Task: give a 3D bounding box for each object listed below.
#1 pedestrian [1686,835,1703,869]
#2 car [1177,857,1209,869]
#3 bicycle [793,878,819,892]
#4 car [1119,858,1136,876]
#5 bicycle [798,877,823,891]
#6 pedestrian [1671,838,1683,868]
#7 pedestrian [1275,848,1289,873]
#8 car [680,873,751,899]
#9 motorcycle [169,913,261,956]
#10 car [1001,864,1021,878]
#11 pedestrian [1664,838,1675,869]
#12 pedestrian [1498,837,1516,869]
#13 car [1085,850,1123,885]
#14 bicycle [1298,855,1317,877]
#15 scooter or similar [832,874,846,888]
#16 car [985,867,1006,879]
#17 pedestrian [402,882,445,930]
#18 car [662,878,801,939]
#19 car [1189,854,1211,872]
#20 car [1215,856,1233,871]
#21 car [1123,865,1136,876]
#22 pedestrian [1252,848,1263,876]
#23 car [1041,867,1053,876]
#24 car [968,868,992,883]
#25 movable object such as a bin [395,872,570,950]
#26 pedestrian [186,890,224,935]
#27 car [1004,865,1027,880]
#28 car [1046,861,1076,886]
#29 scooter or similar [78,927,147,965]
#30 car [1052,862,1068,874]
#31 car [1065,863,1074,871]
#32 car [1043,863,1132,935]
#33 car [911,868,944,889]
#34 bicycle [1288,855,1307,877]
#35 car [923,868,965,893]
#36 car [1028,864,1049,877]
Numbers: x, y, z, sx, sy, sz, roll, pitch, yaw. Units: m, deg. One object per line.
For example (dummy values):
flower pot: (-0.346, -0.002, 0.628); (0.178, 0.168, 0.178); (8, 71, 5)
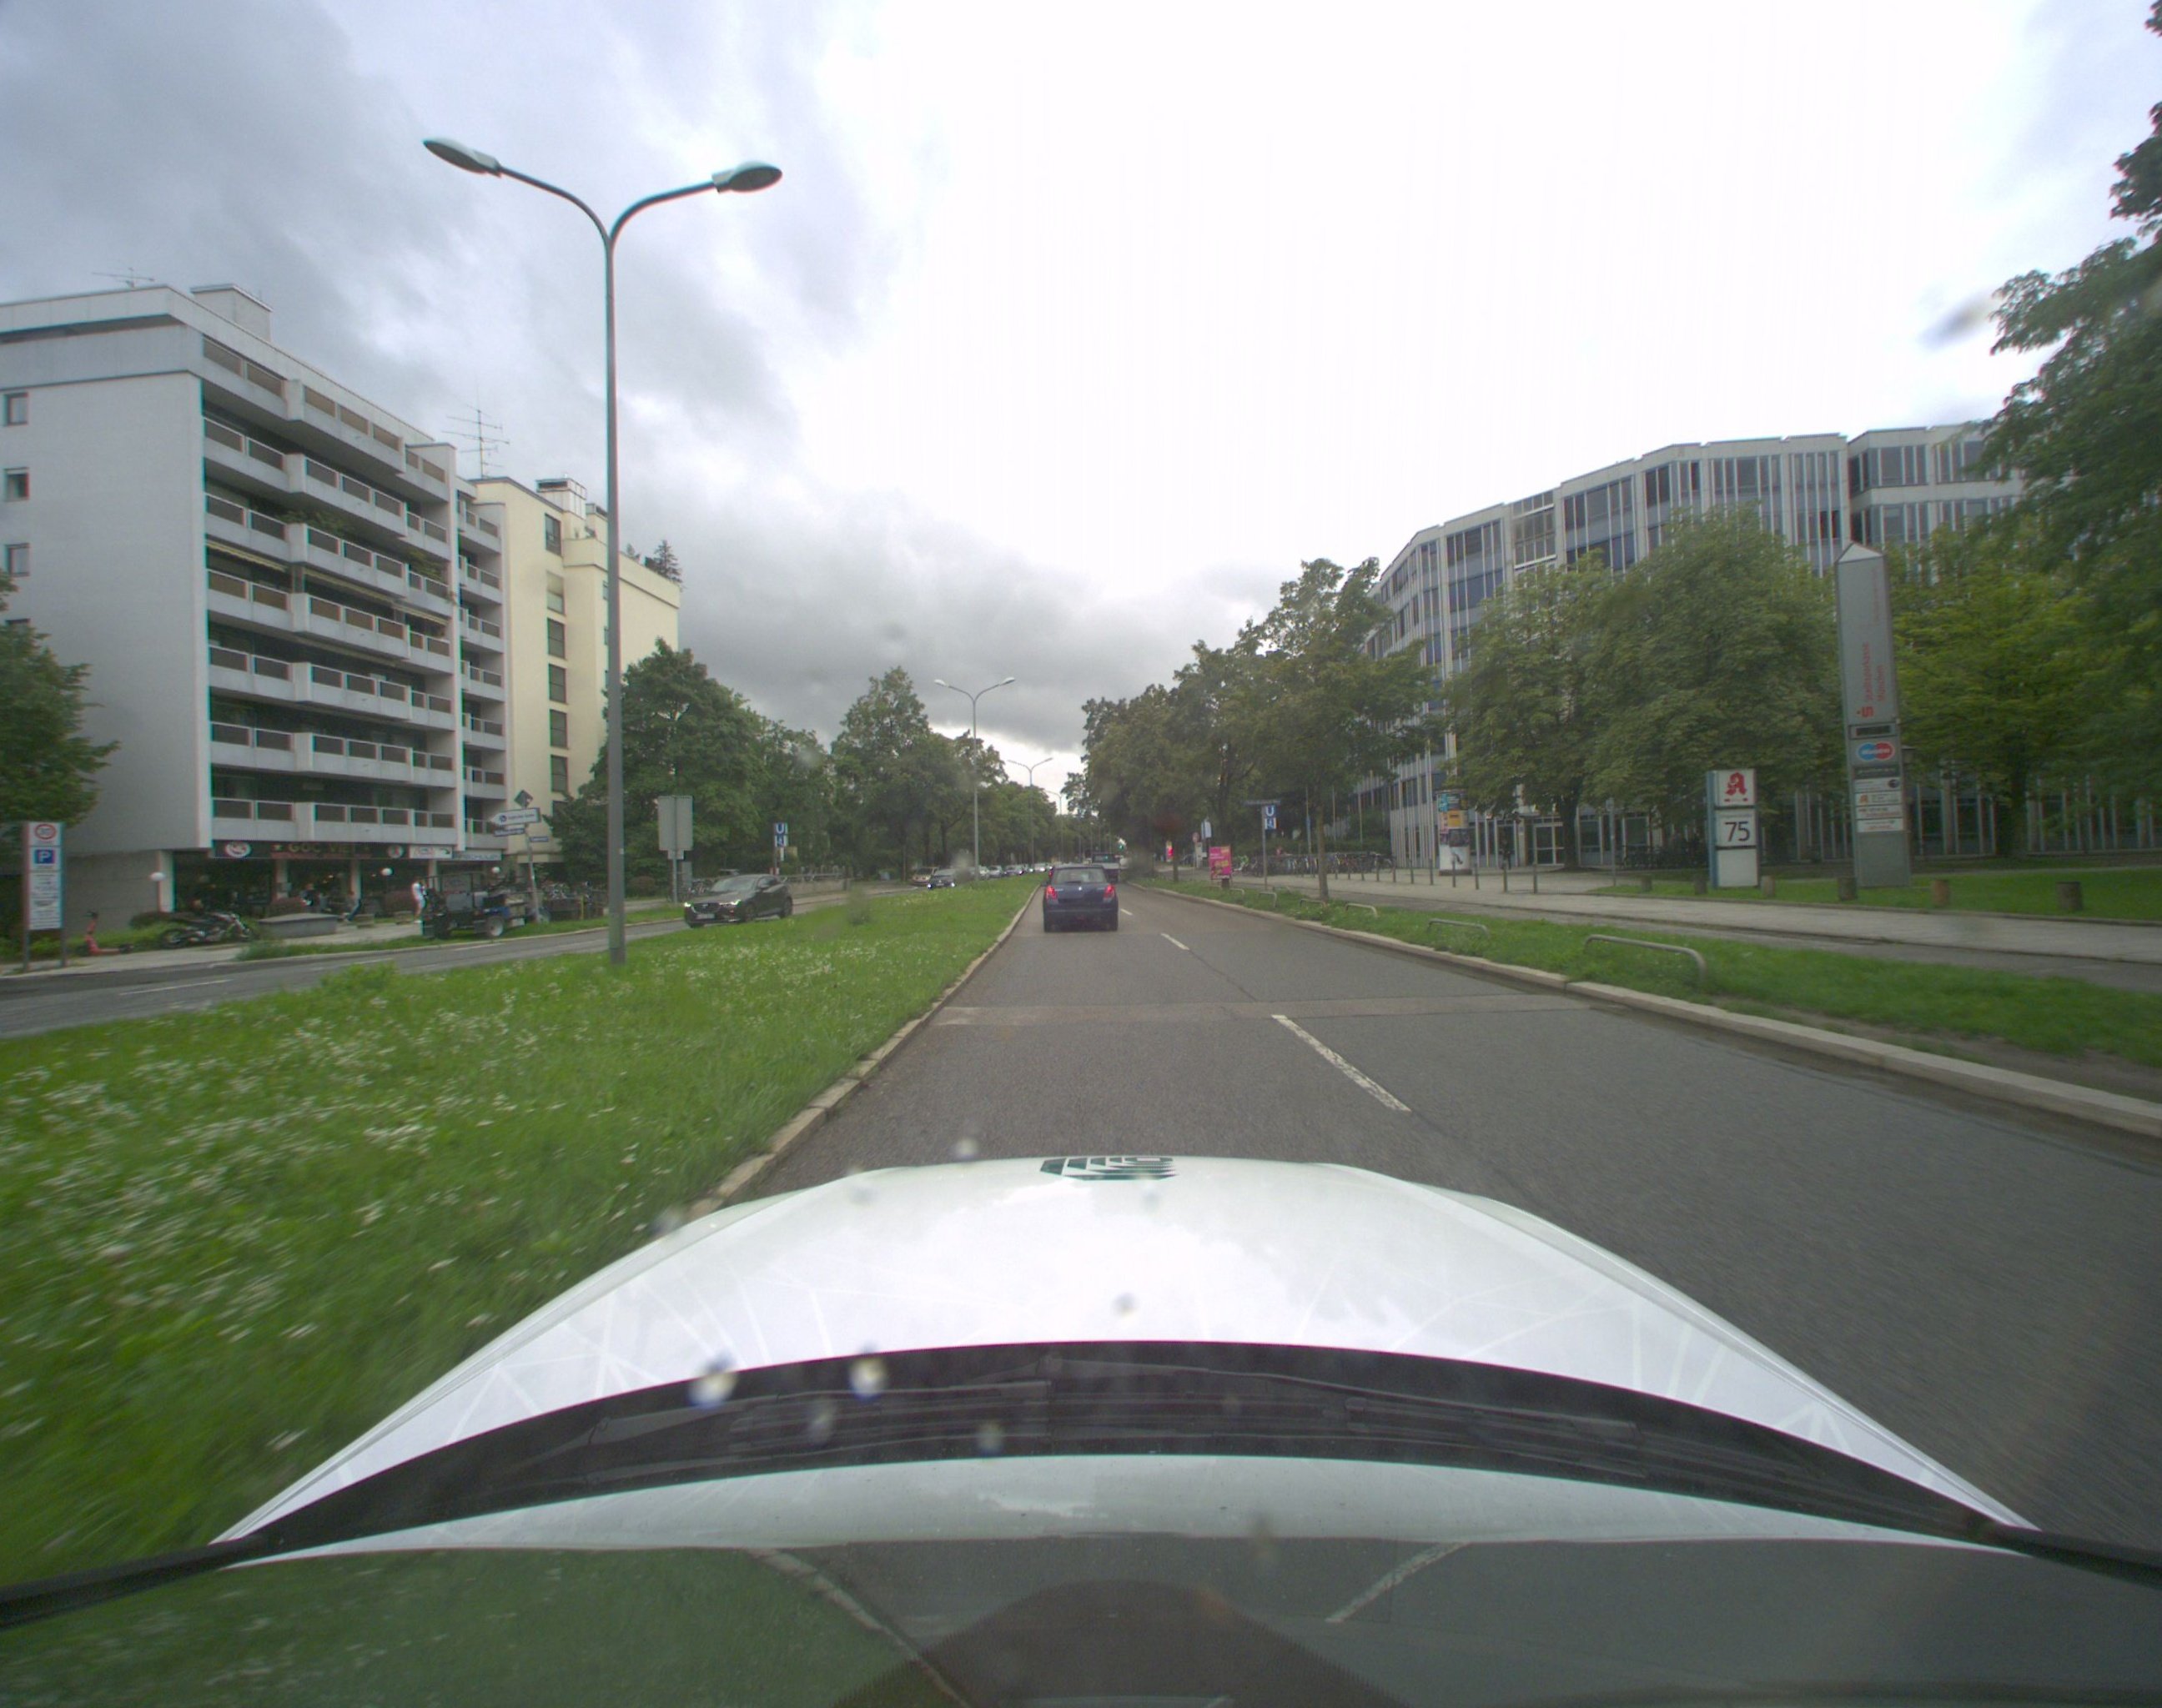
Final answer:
pedestrian: (31.197, -0.096, 41.435); (0.584, 1.658, 0.629); (-3, -1, 33)
car: (20.332, 1.625, 148.027); (5.447, 2.083, 2.149); (-2, -1, 3)
bicycle: (-20.943, 2.383, 61.997); (1.754, 1.007, 0.437); (-2, -1, 3)
car: (6.091, 1.688, 105.286); (1.978, 2.157, 5.562); (-3, -1, 4)
bicycle: (-21.098, 2.330, 63.507); (1.754, 1.007, 0.437); (-2, -1, 3)
pedestrian: (30.506, -0.044, 41.668); (0.348, 1.491, 0.345); (-2, -1, -31)
pedestrian: (14.096, 0.432, 57.138); (0.778, 1.714, 0.752); (-3, -1, 10)
car: (-24.728, 2.162, 55.175); (3.968, 1.589, 1.751); (-2, -1, 5)
motorcycle: (-25.435, 2.337, 23.951); (0.413, 1.086, 1.795); (-3, -1, 29)
car: (-8.047, 1.902, 93.657); (1.684, 1.484, 3.970); (-3, -1, 3)
pedestrian: (30.375, -0.041, 42.017); (0.306, 1.572, 0.355); (-3, -1, 17)
pedestrian: (23.995, -0.040, 45.850); (0.681, 1.773, 0.772); (-3, -1, 14)
car: (1.761, 0.981, 60.310); (2.407, 2.444, 5.094); (-1, -1, 6)
bicycle: (12.627, 0.671, 45.376); (0.486, 1.189, 1.954); (-2, -1, 1)
scooter or similar: (-20.624, 2.312, 69.478); (0.432, 1.127, 1.295); (-3, -1, 17)
car: (-10.310, 2.313, 98.948); (1.729, 1.448, 4.827); (0, -1, 4)
pedestrian: (-24.711, 1.932, 30.611); (0.667, 1.708, 1.130); (-2, -1, -2)
car: (-10.192, 1.536, 24.146); (1.948, 1.480, 4.264); (-3, -1, 5)
car: (16.293, 1.205, 111.987); (2.256, 2.307, 6.271); (-3, -1, 2)
car: (19.692, 1.314, 112.364); (1.835, 1.818, 4.474); (-3, -1, 2)
car: (6.624, 2.227, 111.237); (1.694, 1.397, 4.237); (-3, -1, 4)
pedestrian: (12.323, 0.532, 56.799); (0.647, 1.899, 0.751); (-3, -1, 9)
car: (-6.250, 3.159, 149.915); (1.750, 1.595, 4.493); (0, -1, 3)
car: (-10.987, 2.297, 88.973); (1.731, 1.530, 4.480); (0, -1, 4)
movable object such as a bin: (-17.358, 1.571, 23.917); (2.187, 1.953, 3.997); (-2, -1, -2)
pedestrian: (-32.587, 2.168, 30.309); (0.655, 1.585, 0.668); (-2, -1, 2)
car: (-6.419, 1.805, 79.670); (1.684, 1.402, 3.970); (-3, -1, 3)
car: (-1.318, 1.243, 52.771); (1.795, 1.499, 3.656); (-3, -1, -3)
scooter or similar: (-26.903, 2.549, 22.640); (1.151, 0.959, 0.440); (-2, -1, -19)
car: (-3.033, 2.081, 119.047); (1.758, 1.624, 4.381); (-3, -1, 4)
car: (-2.784, 3.085, 196.649); (1.790, 1.763, 5.057); (-3, -1, 0)
car: (0.176, 0.984, 19.346); (1.889, 1.499, 3.660); (-1, -1, 1)
car: (-12.701, 1.979, 67.413); (1.639, 1.614, 3.825); (-1, -1, 6)
bicycle: (12.047, 0.672, 45.386); (0.486, 1.189, 1.954); (-2, -1, 1)
car: (-8.614, 1.655, 51.528); (1.775, 1.406, 4.104); (-3, -1, 2)
car: (-5.095, 2.004, 98.639); (1.907, 1.484, 4.868); (-3, -1, 3)
